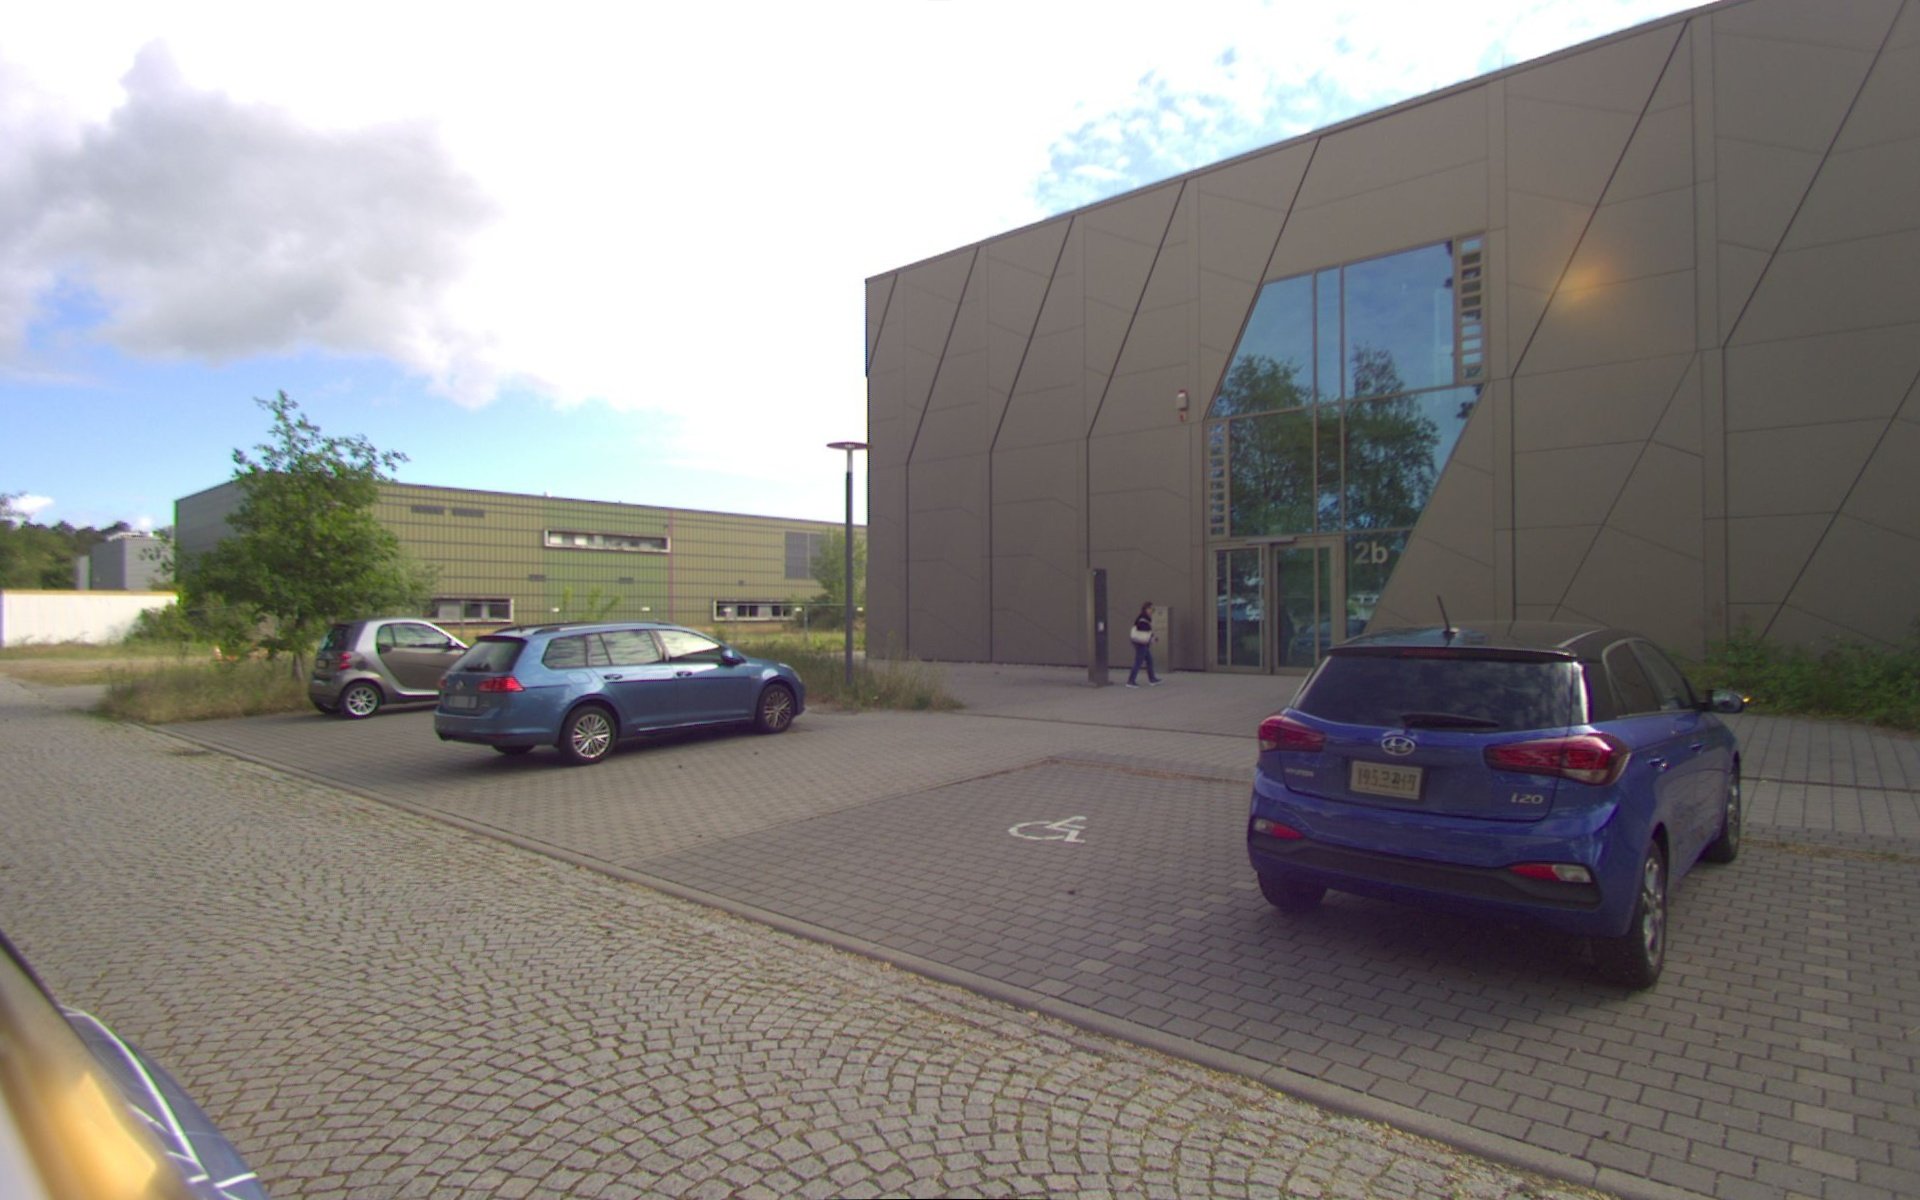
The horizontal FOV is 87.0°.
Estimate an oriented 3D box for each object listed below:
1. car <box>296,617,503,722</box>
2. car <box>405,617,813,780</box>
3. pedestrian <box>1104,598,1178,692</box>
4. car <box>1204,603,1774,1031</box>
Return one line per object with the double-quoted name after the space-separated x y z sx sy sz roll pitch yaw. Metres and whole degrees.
-9.291 1.080 16.864 1.609 1.522 2.627 -2 0 40 "car"
-3.902 0.985 11.914 1.771 1.439 4.265 -1 0 38 "car"
3.118 0.751 17.419 0.818 1.506 0.973 -1 2 41 "pedestrian"
3.161 0.808 5.671 1.852 1.489 3.724 -2 0 44 "car"
